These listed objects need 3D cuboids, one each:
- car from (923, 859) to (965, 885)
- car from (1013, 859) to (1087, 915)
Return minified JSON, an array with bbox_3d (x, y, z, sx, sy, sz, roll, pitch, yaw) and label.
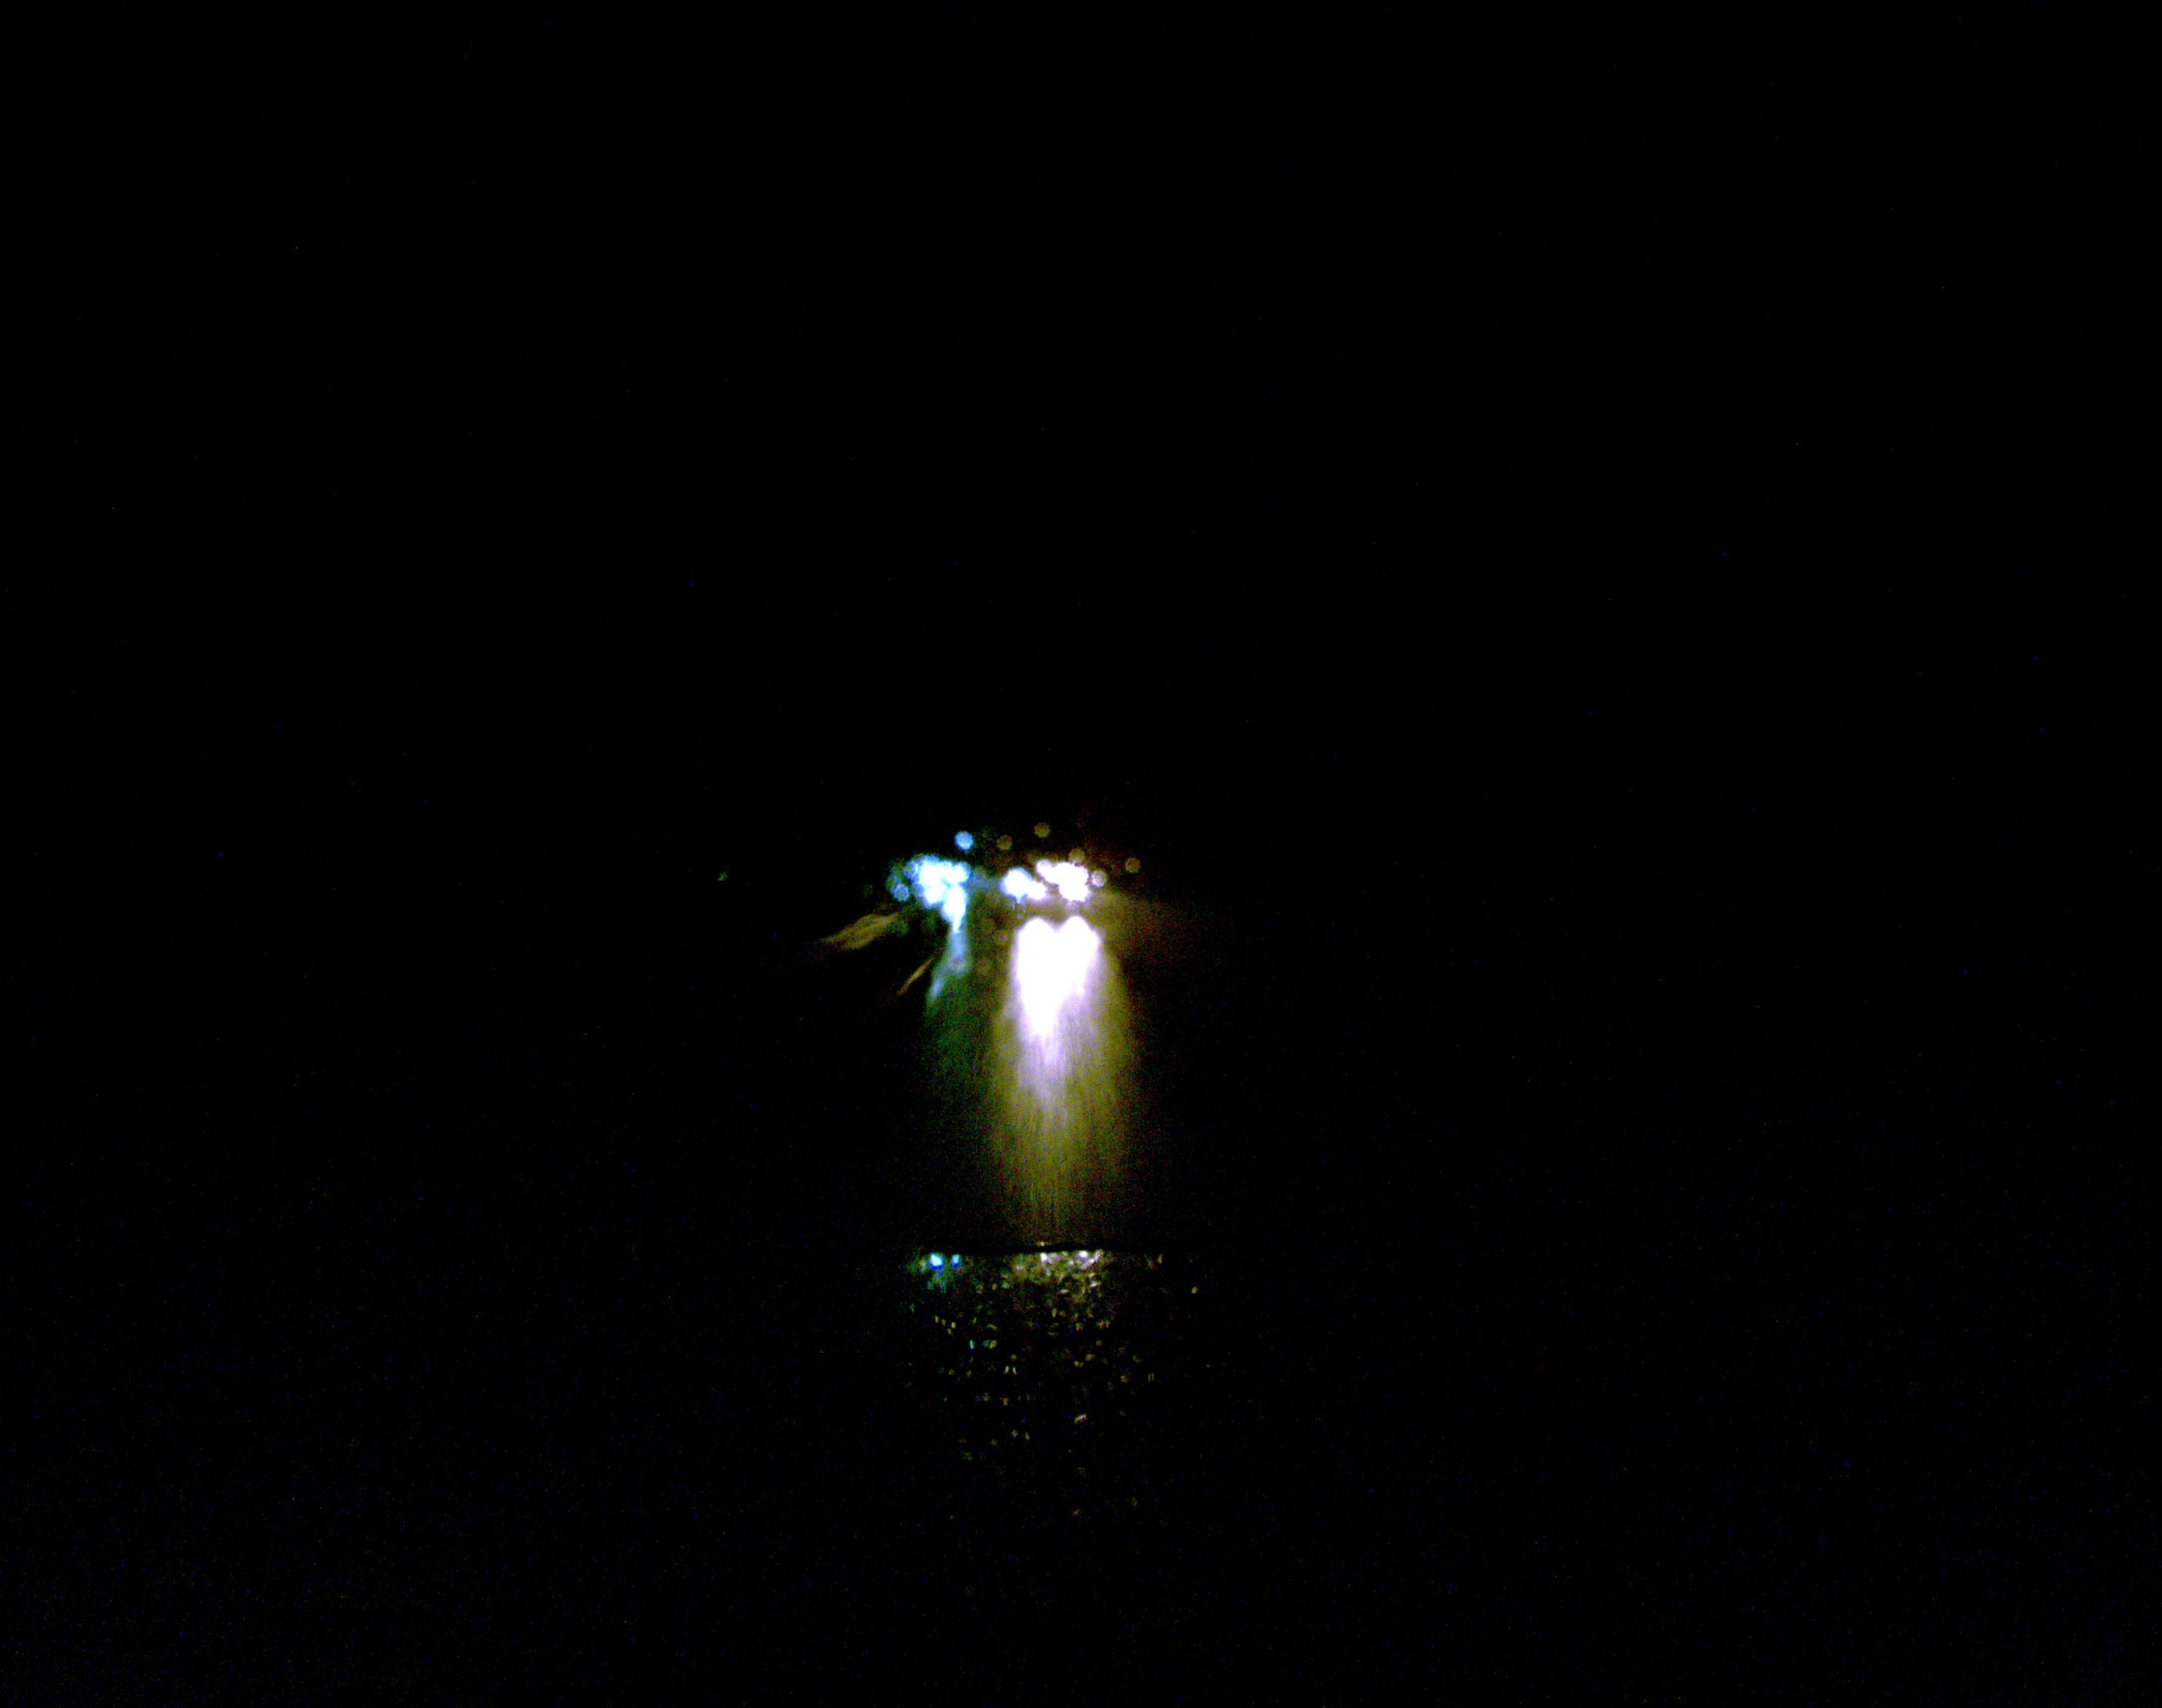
[{"bbox_3d":[-8.512,1.074,46.889,1.852,1.441,3.868,-2,1,-20],"label":"car"},{"bbox_3d":[-1.048,0.938,23.451,1.850,1.441,3.996,-2,1,-8],"label":"car"}]
